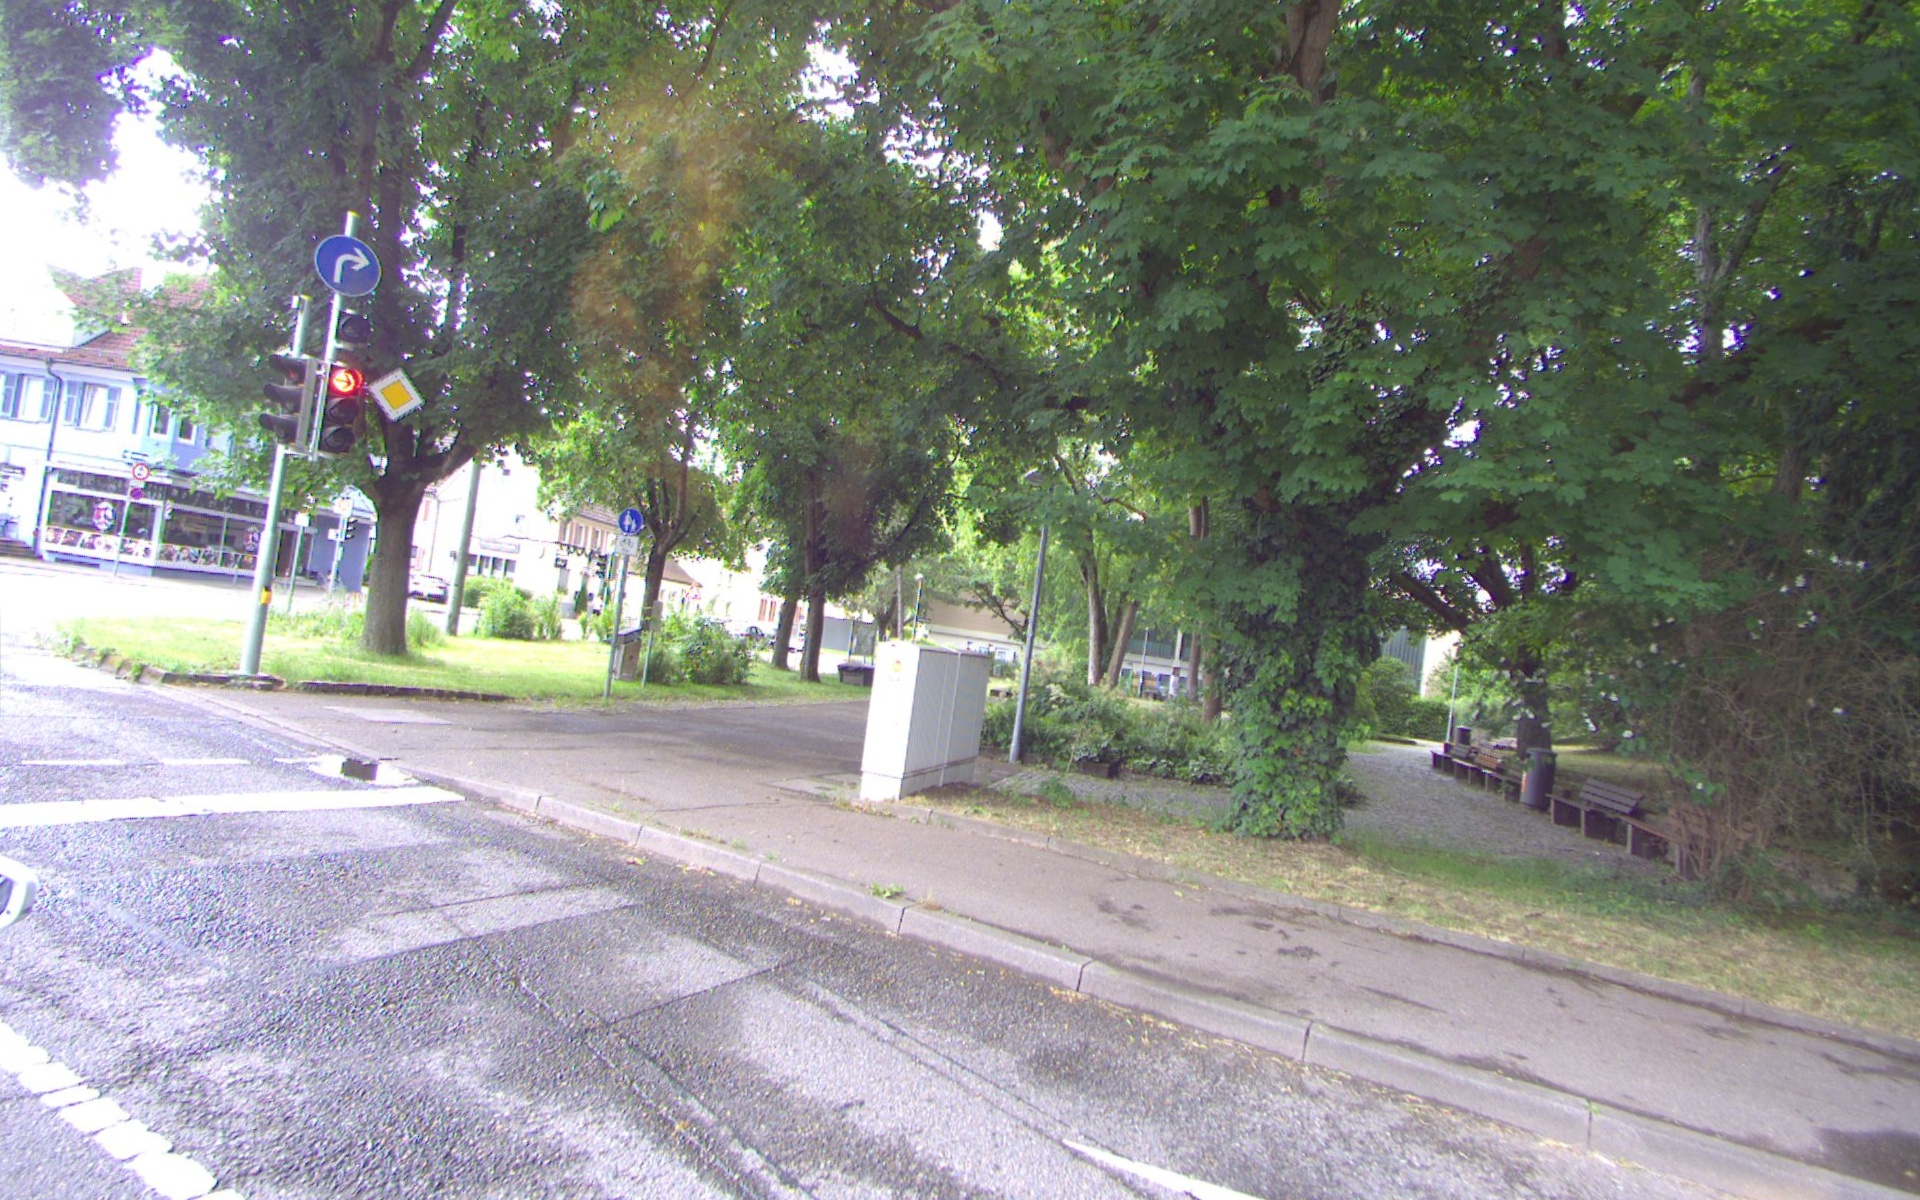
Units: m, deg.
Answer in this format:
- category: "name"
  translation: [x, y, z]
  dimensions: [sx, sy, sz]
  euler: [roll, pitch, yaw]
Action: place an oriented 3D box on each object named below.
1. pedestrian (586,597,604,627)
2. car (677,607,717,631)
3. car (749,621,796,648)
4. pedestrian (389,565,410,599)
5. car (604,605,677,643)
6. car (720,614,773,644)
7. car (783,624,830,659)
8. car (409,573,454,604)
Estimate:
- category: "pedestrian"
  translation: [-21.734, 0.723, 59.873]
  dimensions: [0.600, 1.668, 0.610]
  euler: [7, -1, 3]
- category: "car"
  translation: [-19.374, 1.442, 74.251]
  dimensions: [1.528, 1.436, 4.005]
  euler: [7, -2, 4]
- category: "car"
  translation: [-11.171, 2.070, 60.108]
  dimensions: [1.530, 1.336, 3.514]
  euler: [7, -2, 8]
- category: "pedestrian"
  translation: [-26.646, -0.843, 47.803]
  dimensions: [0.577, 1.535, 0.459]
  euler: [7, -1, -8]
- category: "car"
  translation: [-14.013, 1.090, 44.359]
  dimensions: [1.530, 1.336, 3.514]
  euler: [7, -2, 9]
- category: "car"
  translation: [-11.572, 1.596, 54.823]
  dimensions: [1.530, 1.336, 3.514]
  euler: [7, -2, 9]
- category: "car"
  translation: [-10.059, 2.758, 66.176]
  dimensions: [1.750, 2.037, 4.005]
  euler: [7, -2, 7]
- category: "car"
  translation: [-27.874, -0.604, 53.146]
  dimensions: [1.479, 1.384, 3.166]
  euler: [8, -2, -19]
